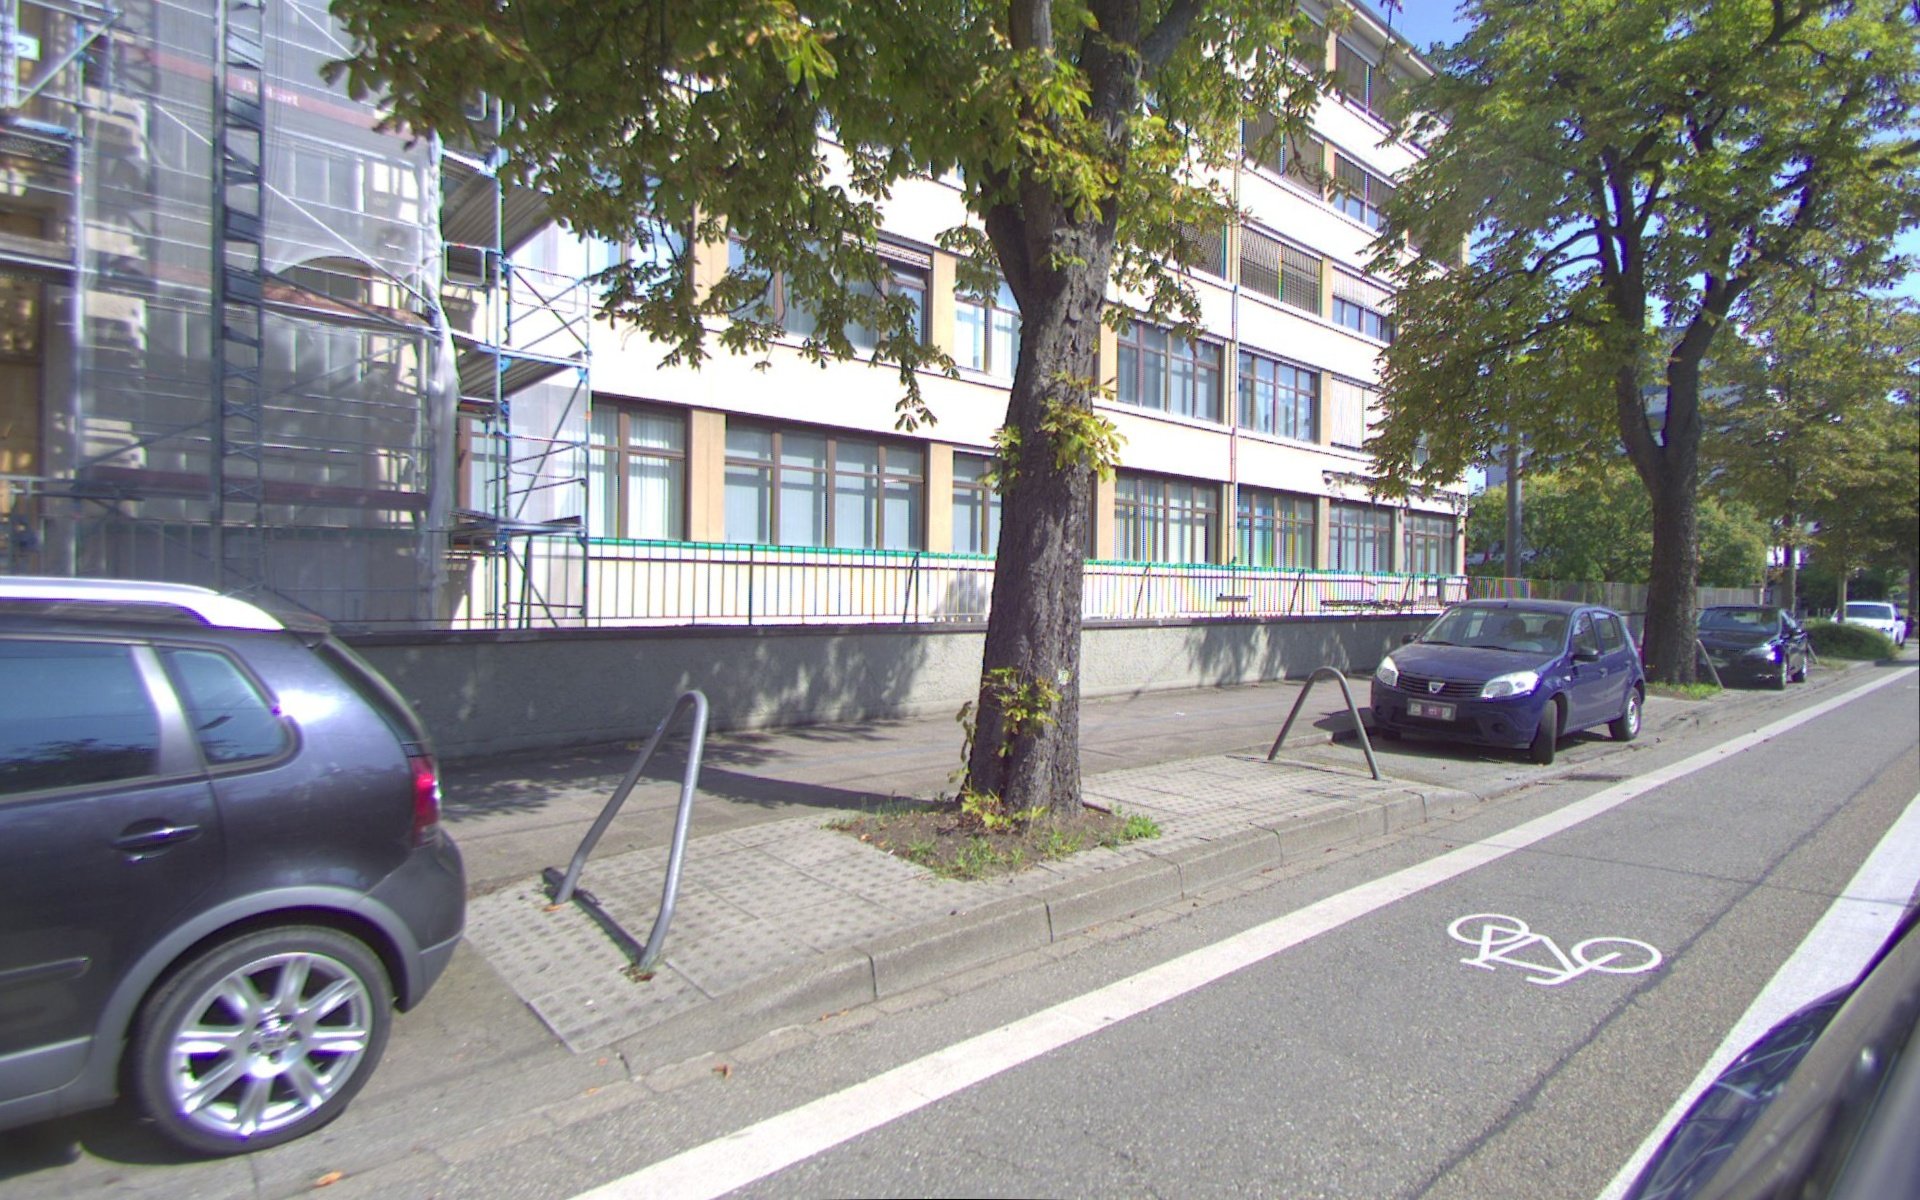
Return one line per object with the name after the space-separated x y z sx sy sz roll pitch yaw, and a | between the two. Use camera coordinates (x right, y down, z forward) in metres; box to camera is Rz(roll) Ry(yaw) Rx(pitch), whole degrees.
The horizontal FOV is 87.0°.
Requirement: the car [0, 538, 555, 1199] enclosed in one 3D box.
-3.355 0.650 2.444 4.117 1.605 1.635 0 0 -43 | car

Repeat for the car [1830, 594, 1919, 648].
27.989 0.577 30.841 4.143 1.499 1.662 0 1 -41 | car

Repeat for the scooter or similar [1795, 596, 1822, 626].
36.569 0.453 43.597 1.785 1.275 0.557 0 0 -39 | scooter or similar

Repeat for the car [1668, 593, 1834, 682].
14.642 0.611 18.660 4.143 1.425 1.662 0 2 -41 | car

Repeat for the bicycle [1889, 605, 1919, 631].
37.296 0.695 39.244 0.548 0.970 1.815 0 0 -41 | bicycle

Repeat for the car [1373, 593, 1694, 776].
6.310 0.732 10.942 4.143 1.575 1.746 0 1 -41 | car
